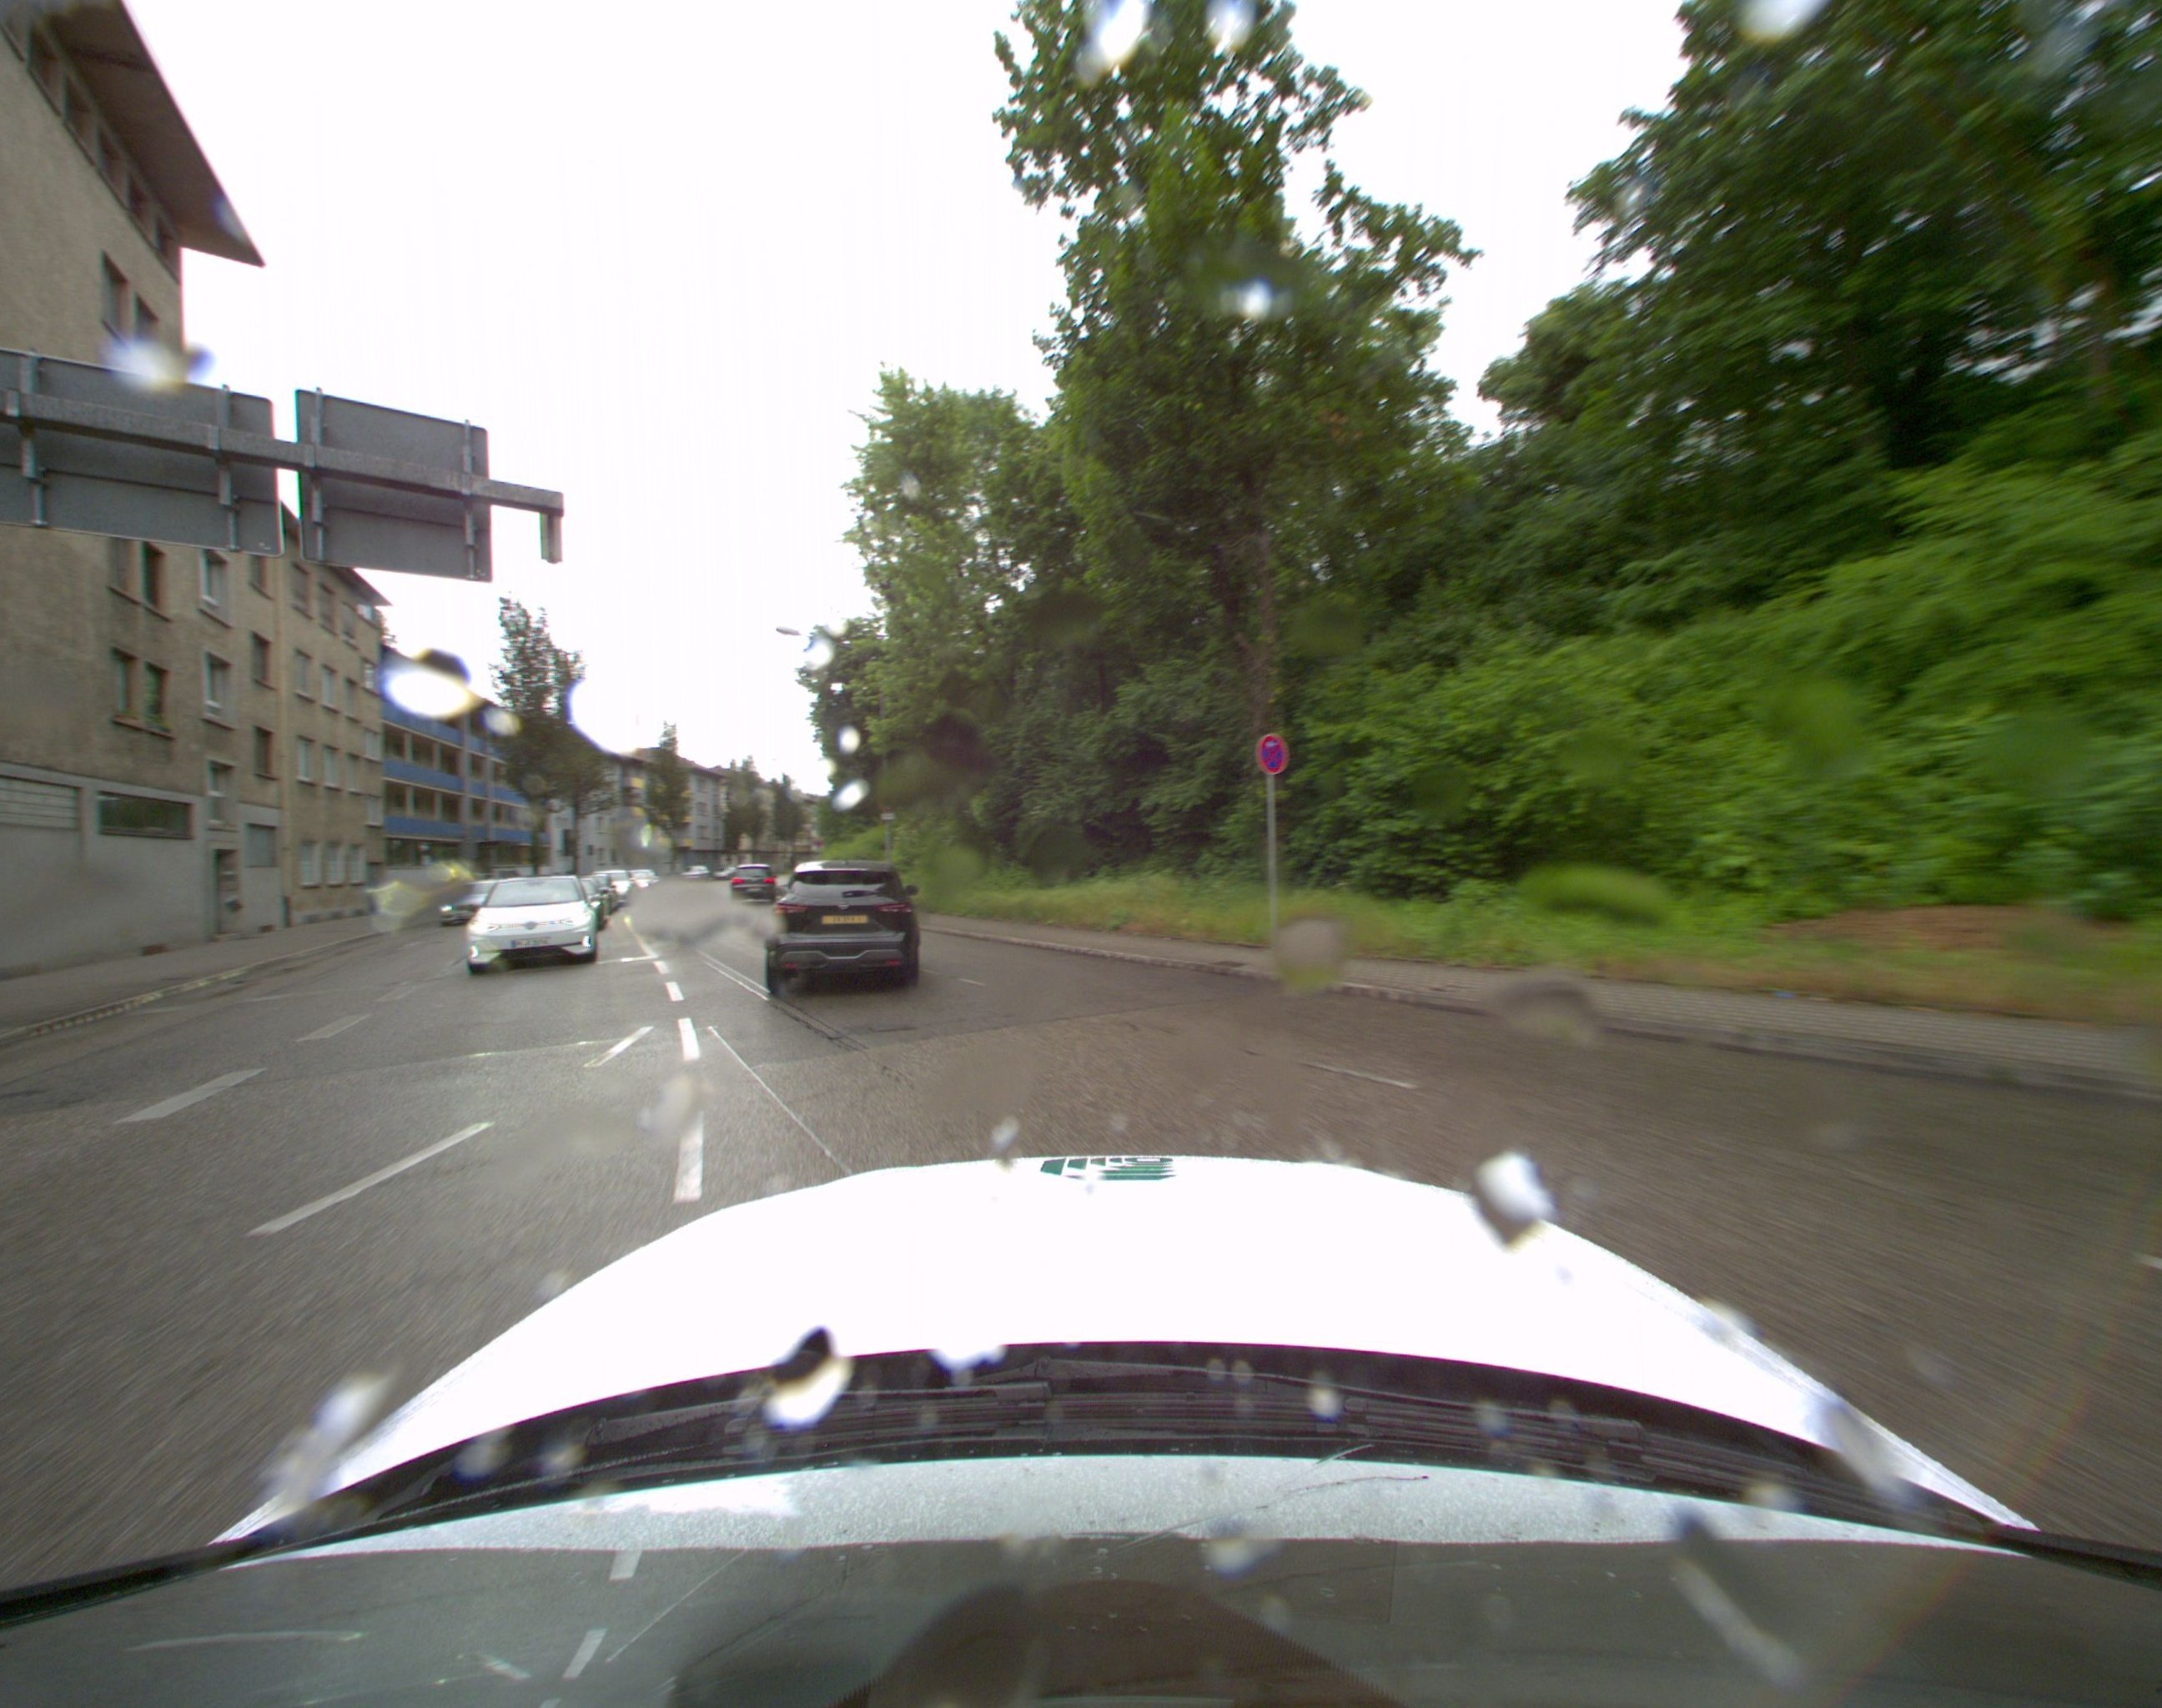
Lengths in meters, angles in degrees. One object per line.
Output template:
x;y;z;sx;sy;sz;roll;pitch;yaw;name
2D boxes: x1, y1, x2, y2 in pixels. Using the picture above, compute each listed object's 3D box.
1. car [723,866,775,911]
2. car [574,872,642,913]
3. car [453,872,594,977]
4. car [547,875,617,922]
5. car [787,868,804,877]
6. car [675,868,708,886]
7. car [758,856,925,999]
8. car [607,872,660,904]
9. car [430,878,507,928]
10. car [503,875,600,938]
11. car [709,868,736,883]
-13.907;1.379;34.146;1.895;1.711;3.970;-1;-1;-22;car
-20.057;1.577;34.733;1.828;1.516;4.990;-3;0;-23;car
-9.886;1.129;14.735;1.797;1.496;4.174;-3;0;-31;car
-17.800;1.527;29.192;1.688;1.447;3.787;-3;0;-26;car
-44.664;2.881;127.522;1.624;1.387;3.979;-2;0;-6;car
-37.289;2.194;78.079;1.765;1.604;4.515;-2;0;-11;car
-3.347;0.830;11.260;1.850;1.582;3.975;0;0;-18;car
-22.726;1.669;41.508;1.759;1.425;4.504;-2;0;-21;car
-21.120;1.642;28.208;1.669;1.455;3.960;-3;1;-31;car
-14.263;1.340;22.157;1.801;1.407;4.582;-2;0;-29;car
-39.079;2.303;88.835;1.725;1.453;4.189;-2;0;-11;car
